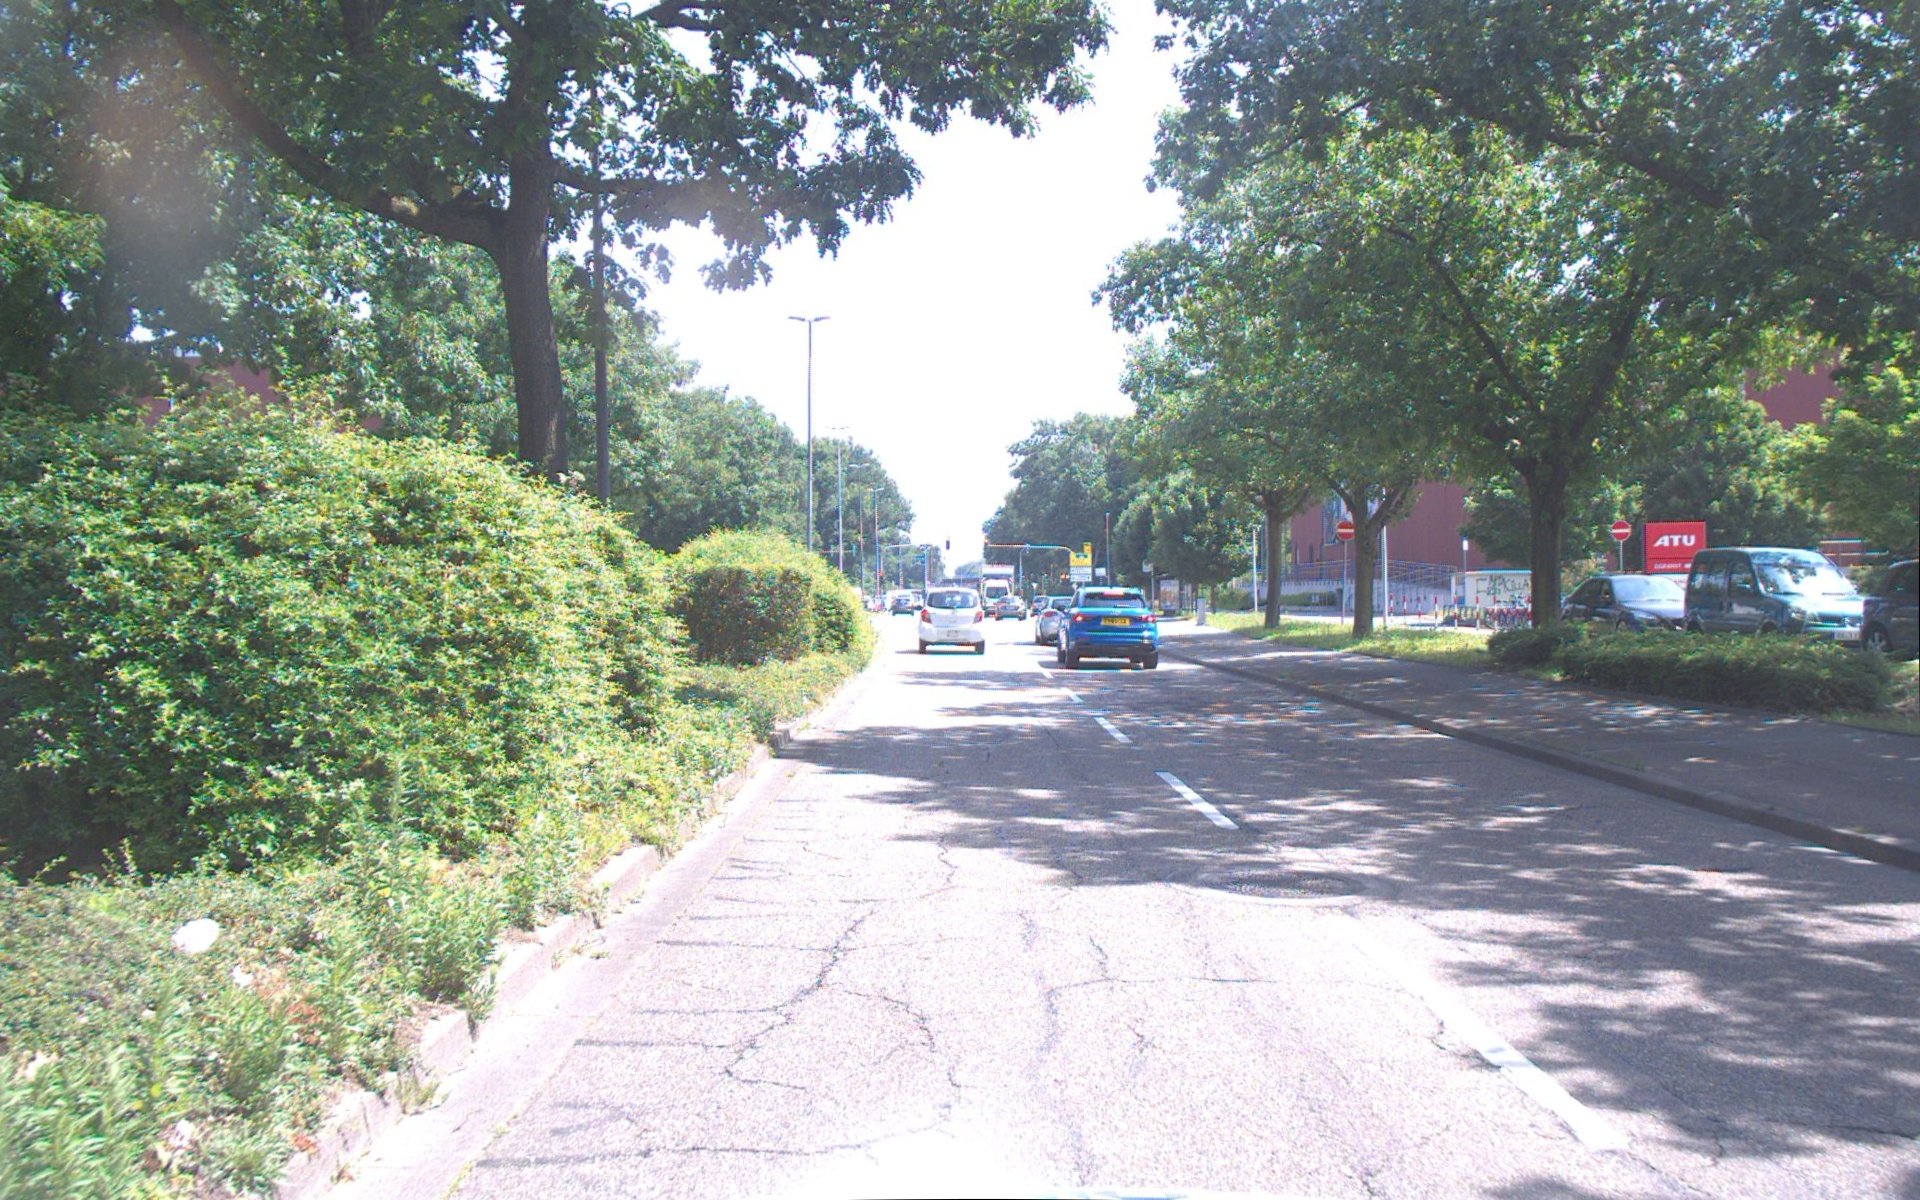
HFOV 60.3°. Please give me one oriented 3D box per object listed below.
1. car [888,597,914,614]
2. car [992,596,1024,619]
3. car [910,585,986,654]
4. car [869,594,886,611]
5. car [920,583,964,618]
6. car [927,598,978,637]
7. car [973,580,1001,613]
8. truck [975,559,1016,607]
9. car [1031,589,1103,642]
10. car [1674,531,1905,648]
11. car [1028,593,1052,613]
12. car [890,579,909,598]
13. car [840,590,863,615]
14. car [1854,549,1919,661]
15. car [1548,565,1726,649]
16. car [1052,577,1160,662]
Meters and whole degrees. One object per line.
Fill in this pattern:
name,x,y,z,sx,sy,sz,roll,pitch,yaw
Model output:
car,-4.761,0.471,134.384,1.953,1.310,4.000,-1,0,-1
car,3.002,0.439,103.740,1.828,1.333,3.999,-2,0,-1
car,-0.330,0.459,39.864,1.606,1.579,3.322,0,0,-4
car,-7.034,0.203,140.745,1.341,1.331,2.692,-1,0,-3
car,-0.848,0.021,75.602,1.759,1.550,3.996,0,0,-4
car,-0.268,0.644,61.775,1.846,1.378,3.999,0,0,0
car,1.933,-0.276,119.523,1.953,2.295,4.000,-1,0,-1
truck,2.748,-1.275,129.878,2.872,3.563,9.157,-1,0,0
car,3.147,0.458,49.264,1.828,1.499,3.999,0,0,-1
car,12.776,-0.134,25.747,1.665,1.666,3.906,-1,0,1
car,6.143,0.239,127.650,1.600,1.489,4.000,-1,0,0
car,-6.683,-1.285,182.353,1.953,2.049,3.999,-1,0,-1
car,-9.871,0.244,150.975,1.742,2.322,4.752,0,0,0
car,12.889,0.061,20.300,1.666,1.404,3.905,-1,0,-1
car,12.727,0.142,31.419,1.665,1.449,4.655,-1,0,3
car,2.913,0.393,33.897,1.772,1.621,4.348,0,0,-1
